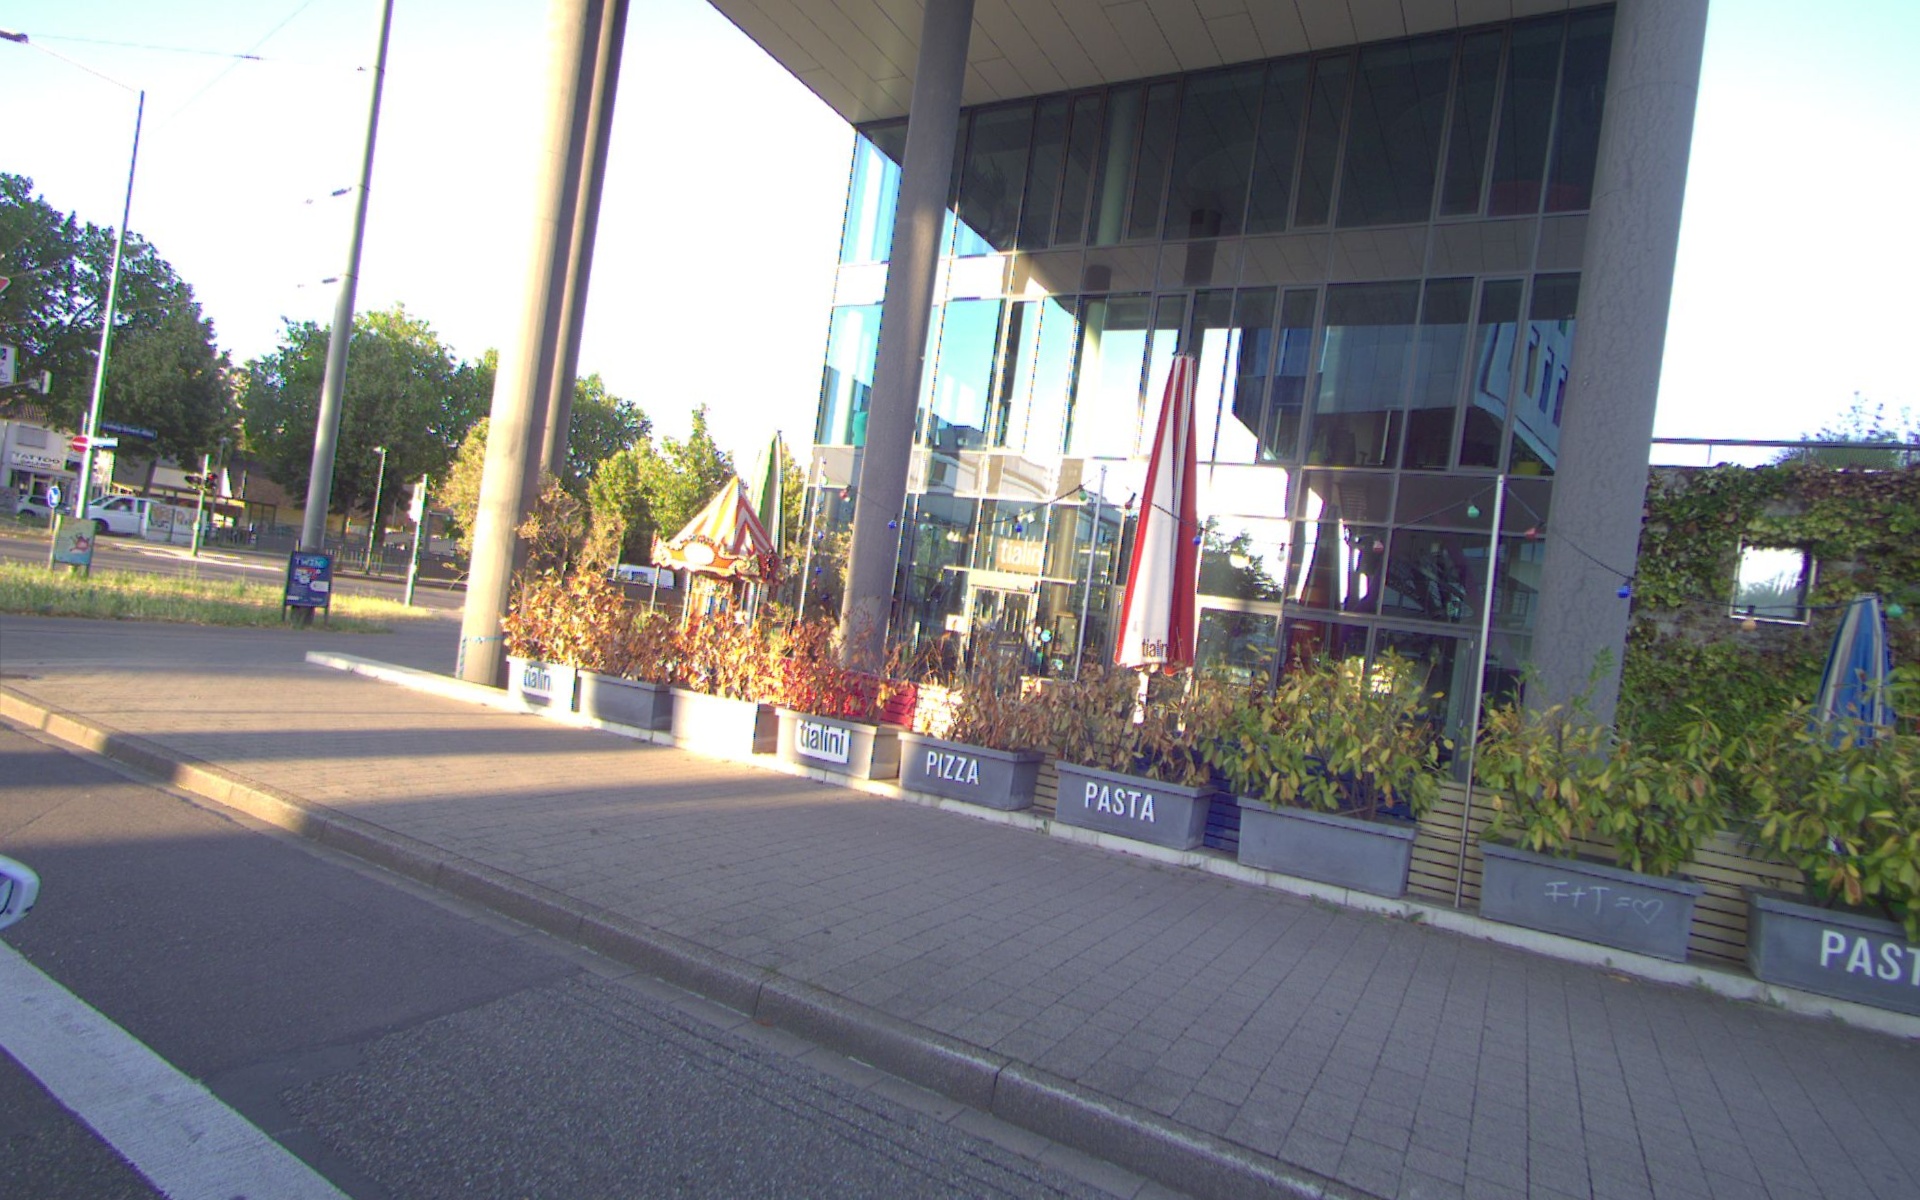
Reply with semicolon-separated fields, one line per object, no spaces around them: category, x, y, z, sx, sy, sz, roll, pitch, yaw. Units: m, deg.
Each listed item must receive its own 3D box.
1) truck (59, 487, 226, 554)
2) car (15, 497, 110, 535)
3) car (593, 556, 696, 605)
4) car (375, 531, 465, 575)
truck;-38.051;-3.651;47.019;2.034;2.078;5.567;7;-2;32
car;-50.152;-4.694;56.263;1.641;1.456;3.736;6;-2;41
car;-23.024;-1.385;73.797;2.765;2.666;6.931;6;-2;32
car;-42.618;-3.681;79.533;2.197;2.581;5.594;7;-2;39
